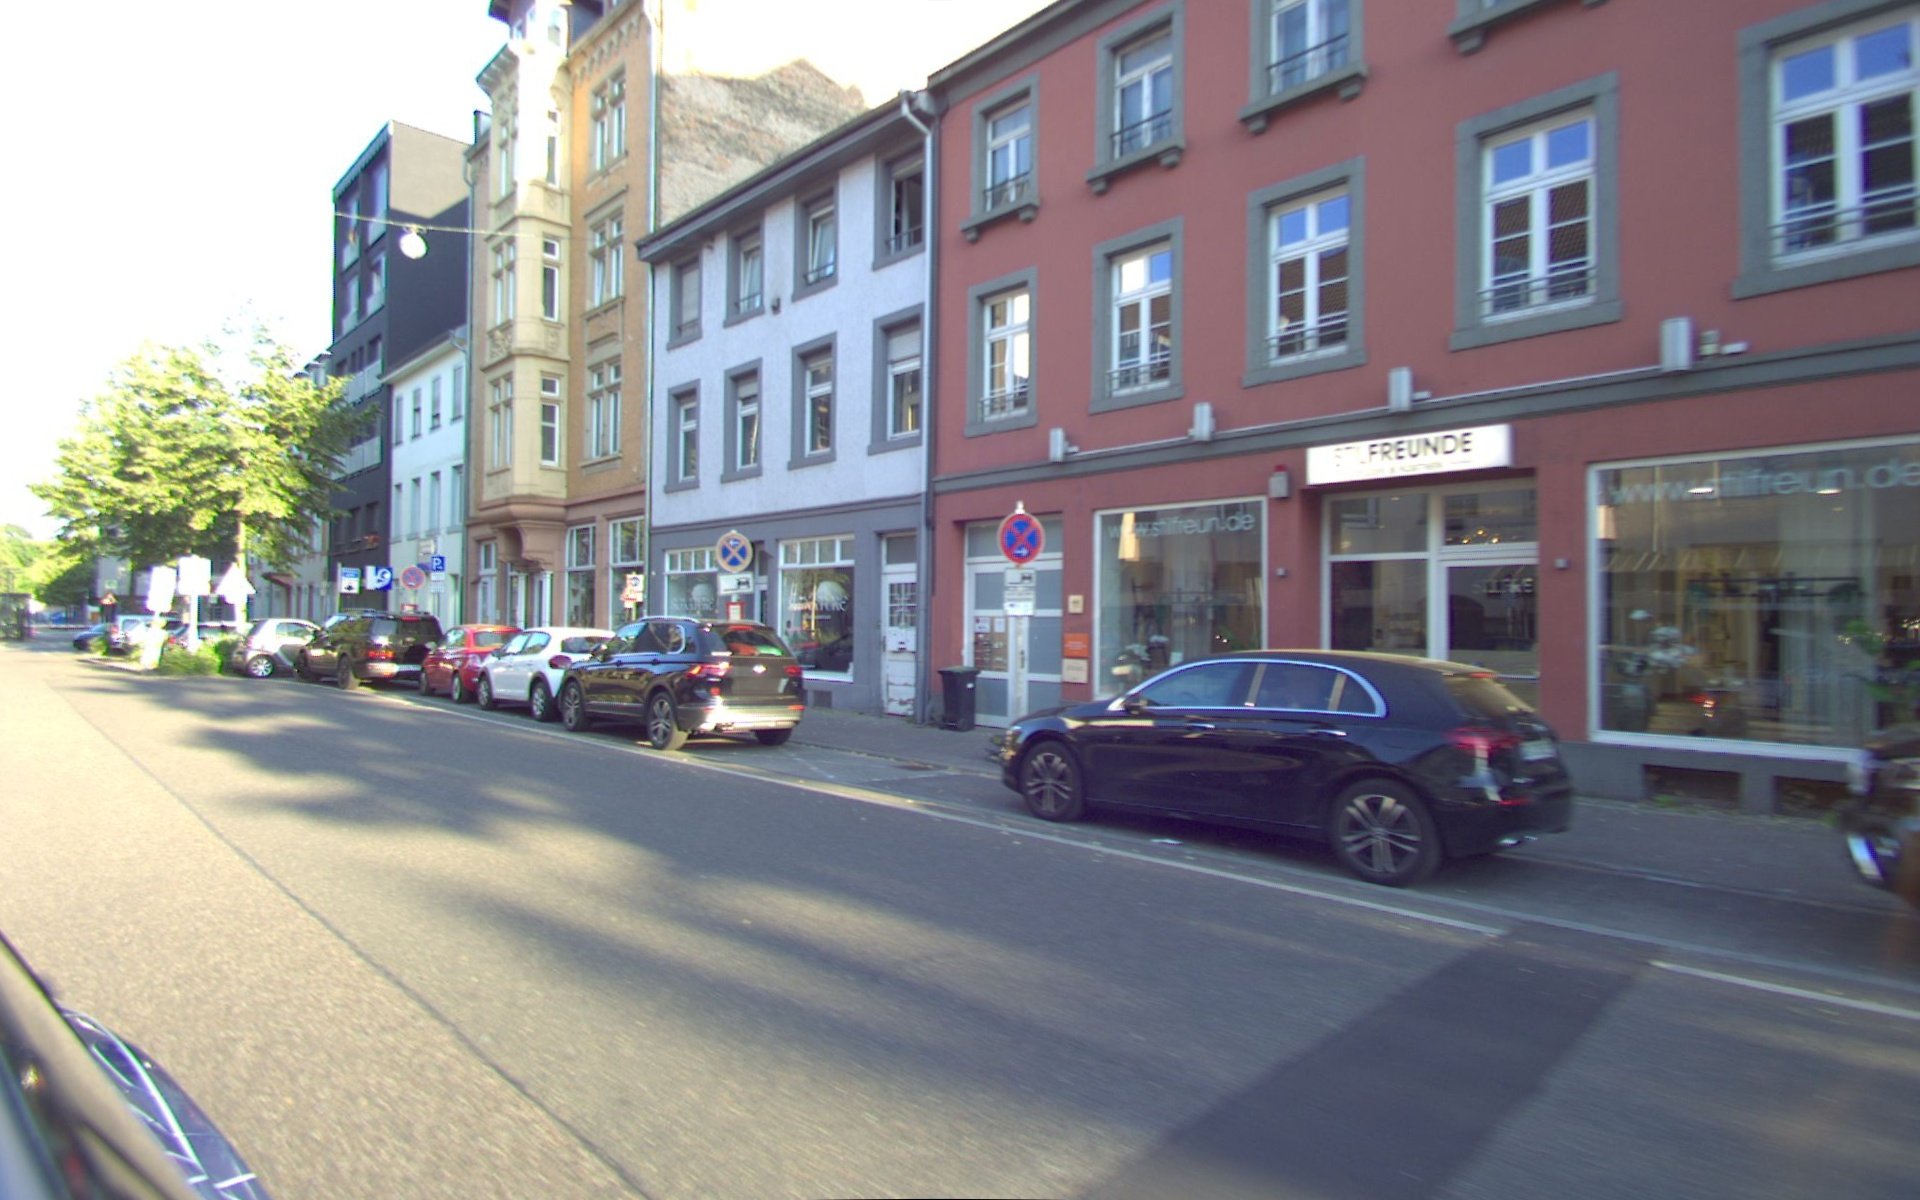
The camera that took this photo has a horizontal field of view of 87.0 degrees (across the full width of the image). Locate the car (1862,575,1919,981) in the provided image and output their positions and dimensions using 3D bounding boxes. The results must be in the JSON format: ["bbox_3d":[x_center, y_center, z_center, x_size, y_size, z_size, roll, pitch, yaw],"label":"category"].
[{"bbox_3d":[6.679,0.784,3.453,5.301,1.783,1.971,-1,-3,44],"label":"car"}]

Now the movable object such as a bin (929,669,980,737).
[{"bbox_3d":[-0.079,1.490,14.740,0.583,0.923,0.485,-1,-2,42],"label":"movable object such as a bin"}]

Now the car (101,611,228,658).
[{"bbox_3d":[-35.934,1.585,45.794,2.055,1.998,4.137,-1,-3,40],"label":"car"}]

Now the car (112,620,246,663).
[{"bbox_3d":[-32.393,1.719,42.054,1.996,1.689,4.076,-1,-3,42],"label":"car"}]

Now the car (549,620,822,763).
[{"bbox_3d":[-3.846,1.112,13.735,1.745,1.626,4.221,3,-3,-44],"label":"car"}]

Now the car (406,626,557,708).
[{"bbox_3d":[-9.630,1.292,20.265,1.665,1.475,3.545,3,-3,-44],"label":"car"}]

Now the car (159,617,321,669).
[{"bbox_3d":[-23.177,1.389,32.658,1.958,1.593,3.859,-1,-3,40],"label":"car"}]

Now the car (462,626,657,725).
[{"bbox_3d":[-6.906,1.215,17.271,1.745,1.475,3.870,3,-3,-44],"label":"car"}]

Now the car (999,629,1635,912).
[{"bbox_3d":[2.424,1.010,7.685,1.745,1.522,4.221,3,-3,-44],"label":"car"}]

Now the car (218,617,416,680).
[{"bbox_3d":[-17.492,1.314,27.682,2.055,1.593,4.137,-1,-3,40],"label":"car"}]

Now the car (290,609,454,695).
[{"bbox_3d":[-13.444,1.134,23.048,4.217,1.766,2.027,-1,-3,42],"label":"car"}]

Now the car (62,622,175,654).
[{"bbox_3d":[-44.844,2.036,54.011,2.047,1.640,4.154,0,-3,28],"label":"car"}]
